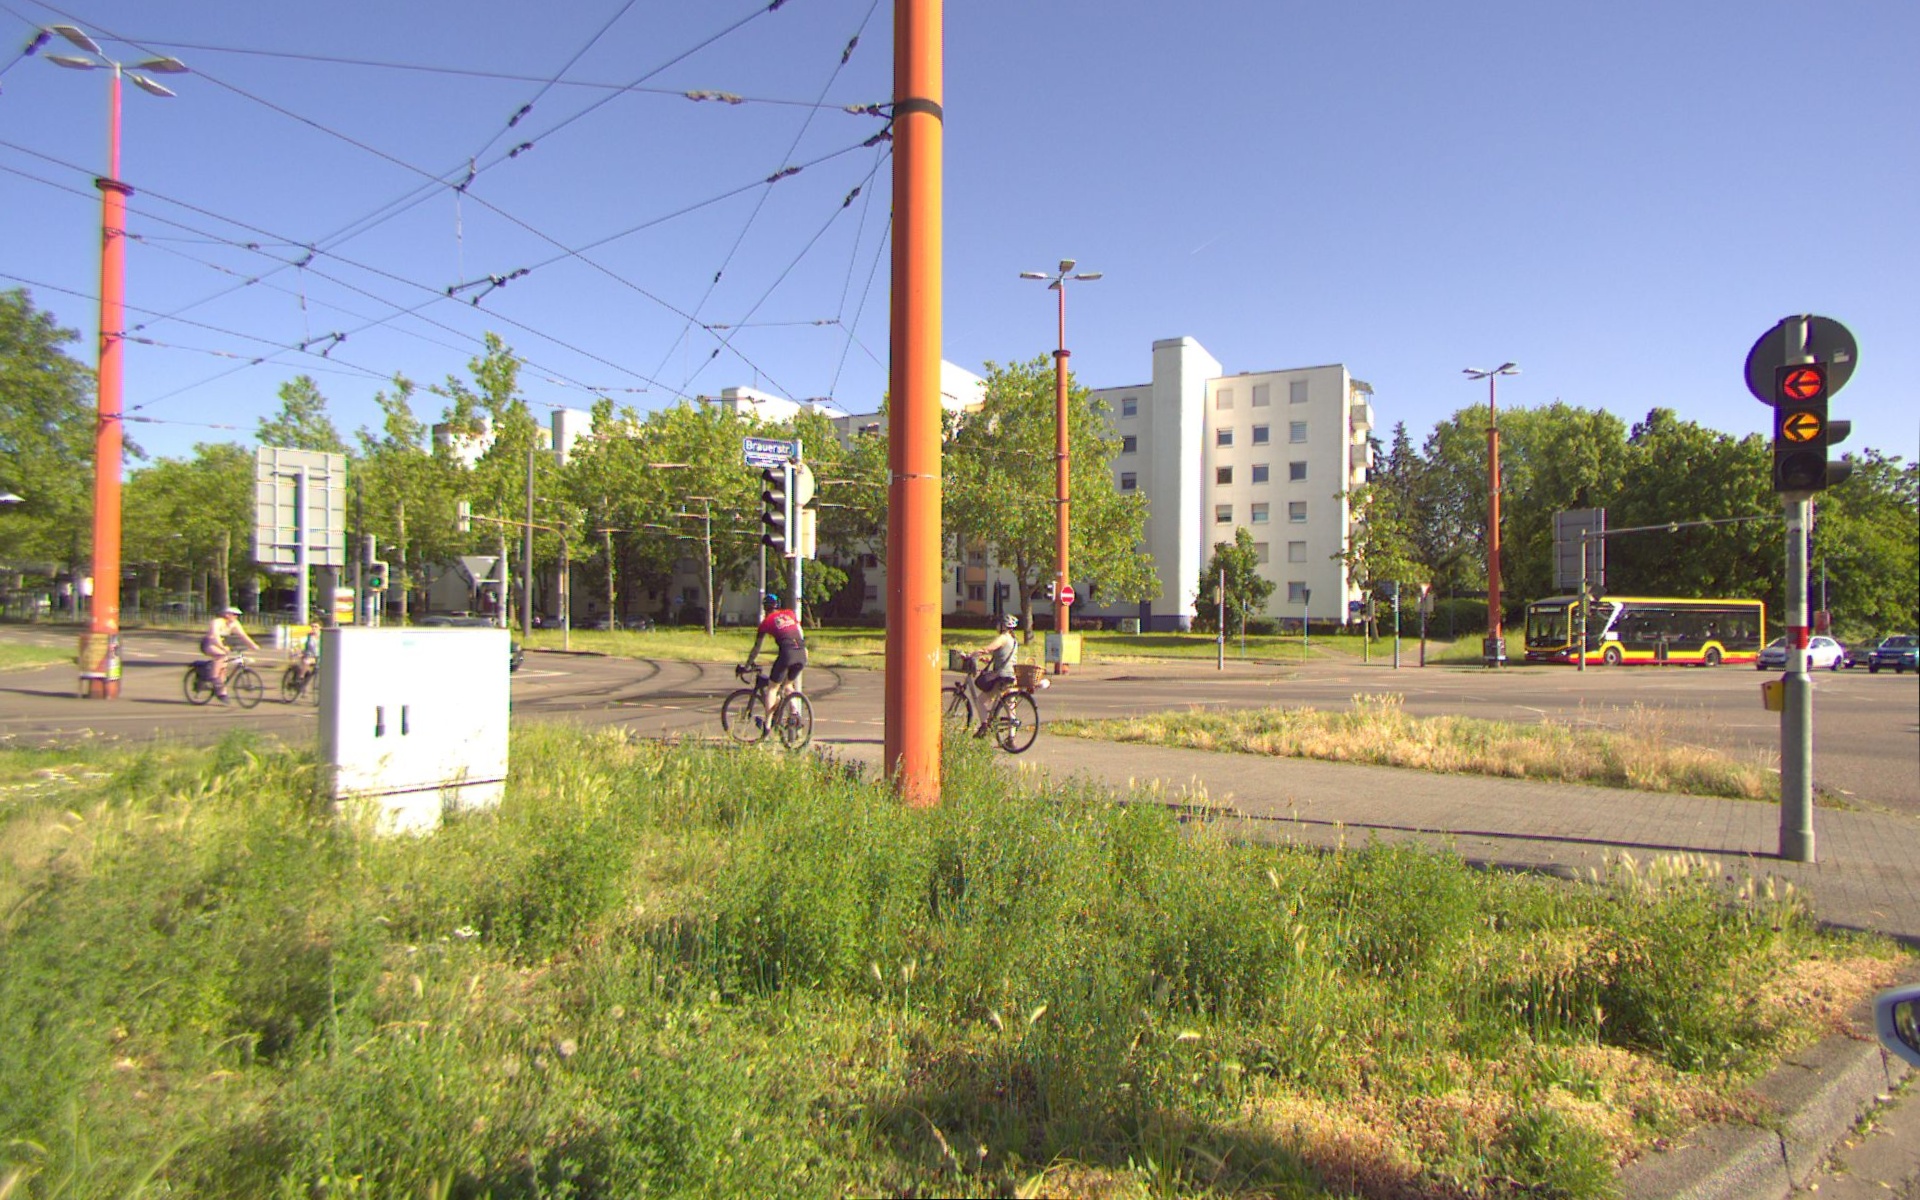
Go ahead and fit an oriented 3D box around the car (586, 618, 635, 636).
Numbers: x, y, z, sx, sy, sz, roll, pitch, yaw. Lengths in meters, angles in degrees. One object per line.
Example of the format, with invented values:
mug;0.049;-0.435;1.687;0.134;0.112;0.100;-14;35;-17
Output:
car;-25.836;1.993;74.311;3.279;1.149;1.321;2;0;-11

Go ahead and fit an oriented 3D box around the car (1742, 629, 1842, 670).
car;35.363;2.112;42.684;4.168;1.673;1.869;2;-3;-29

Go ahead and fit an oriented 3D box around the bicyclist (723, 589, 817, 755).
bicyclist;-2.339;0.866;12.341;0.977;1.938;0.683;-2;-2;41

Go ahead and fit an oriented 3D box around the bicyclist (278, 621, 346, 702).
bicyclist;-12.899;1.201;20.003;0.906;1.545;0.720;2;0;20

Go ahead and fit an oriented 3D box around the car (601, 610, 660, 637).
car;-23.671;1.700;72.294;3.874;1.841;1.651;2;0;-13

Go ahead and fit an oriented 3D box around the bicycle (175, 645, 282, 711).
bicycle;-13.645;1.438;18.732;1.877;1.086;0.580;2;0;17

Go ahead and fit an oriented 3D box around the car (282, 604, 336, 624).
car;-66.306;1.460;102.355;4.274;2.010;1.932;1;-1;-19

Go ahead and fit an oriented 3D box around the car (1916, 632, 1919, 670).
car;42.604;2.171;42.713;3.955;1.575;1.891;2;-2;-32

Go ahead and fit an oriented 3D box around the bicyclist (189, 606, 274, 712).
bicyclist;-13.601;1.081;18.774;0.905;1.892;0.893;2;0;17

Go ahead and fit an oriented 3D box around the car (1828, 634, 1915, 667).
car;43.133;2.376;47.529;3.952;1.533;1.877;1;-2;-29

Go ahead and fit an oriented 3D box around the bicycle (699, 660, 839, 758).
bicycle;-2.374;1.293;12.343;1.888;1.085;0.688;-2;-2;41

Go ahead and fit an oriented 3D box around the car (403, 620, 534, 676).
car;-15.225;1.440;31.096;3.977;1.516;1.913;2;0;34

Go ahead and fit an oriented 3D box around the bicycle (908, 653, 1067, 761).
bicycle;0.312;1.251;12.184;1.887;1.146;0.737;0;-1;41

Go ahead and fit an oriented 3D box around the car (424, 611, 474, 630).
car;-43.264;1.759;85.098;3.592;1.480;1.608;2;0;-19

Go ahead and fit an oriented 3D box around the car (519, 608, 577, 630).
car;-32.553;1.503;79.430;3.868;1.614;1.656;2;0;-8

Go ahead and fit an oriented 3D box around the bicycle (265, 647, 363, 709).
bicycle;-12.861;1.534;19.995;1.878;1.086;0.580;2;0;19

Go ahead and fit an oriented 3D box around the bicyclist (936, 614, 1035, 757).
bicyclist;0.312;1.001;12.226;0.815;1.643;0.888;0;-1;41

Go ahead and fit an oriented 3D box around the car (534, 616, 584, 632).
car;-30.901;1.854;77.435;3.346;1.162;1.305;2;0;-13

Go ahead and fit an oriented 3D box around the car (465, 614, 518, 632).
car;-38.845;1.915;83.386;3.665;1.349;1.496;2;0;-8

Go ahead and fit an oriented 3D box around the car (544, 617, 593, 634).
car;-29.333;1.887;75.338;3.219;1.172;1.357;2;0;-12

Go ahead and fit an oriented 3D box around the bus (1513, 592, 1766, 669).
bus;32.664;1.495;48.219;12.328;3.304;2.646;2;0;-15

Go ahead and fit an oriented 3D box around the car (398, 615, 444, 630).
car;-46.631;1.922;86.952;3.370;1.204;1.439;2;0;-23

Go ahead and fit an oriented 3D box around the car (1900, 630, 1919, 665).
car;49.093;2.401;50.424;3.930;1.673;1.769;3;-4;-32

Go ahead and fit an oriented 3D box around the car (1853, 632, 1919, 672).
car;37.293;2.041;39.763;3.813;1.535;1.793;1;-3;-30
